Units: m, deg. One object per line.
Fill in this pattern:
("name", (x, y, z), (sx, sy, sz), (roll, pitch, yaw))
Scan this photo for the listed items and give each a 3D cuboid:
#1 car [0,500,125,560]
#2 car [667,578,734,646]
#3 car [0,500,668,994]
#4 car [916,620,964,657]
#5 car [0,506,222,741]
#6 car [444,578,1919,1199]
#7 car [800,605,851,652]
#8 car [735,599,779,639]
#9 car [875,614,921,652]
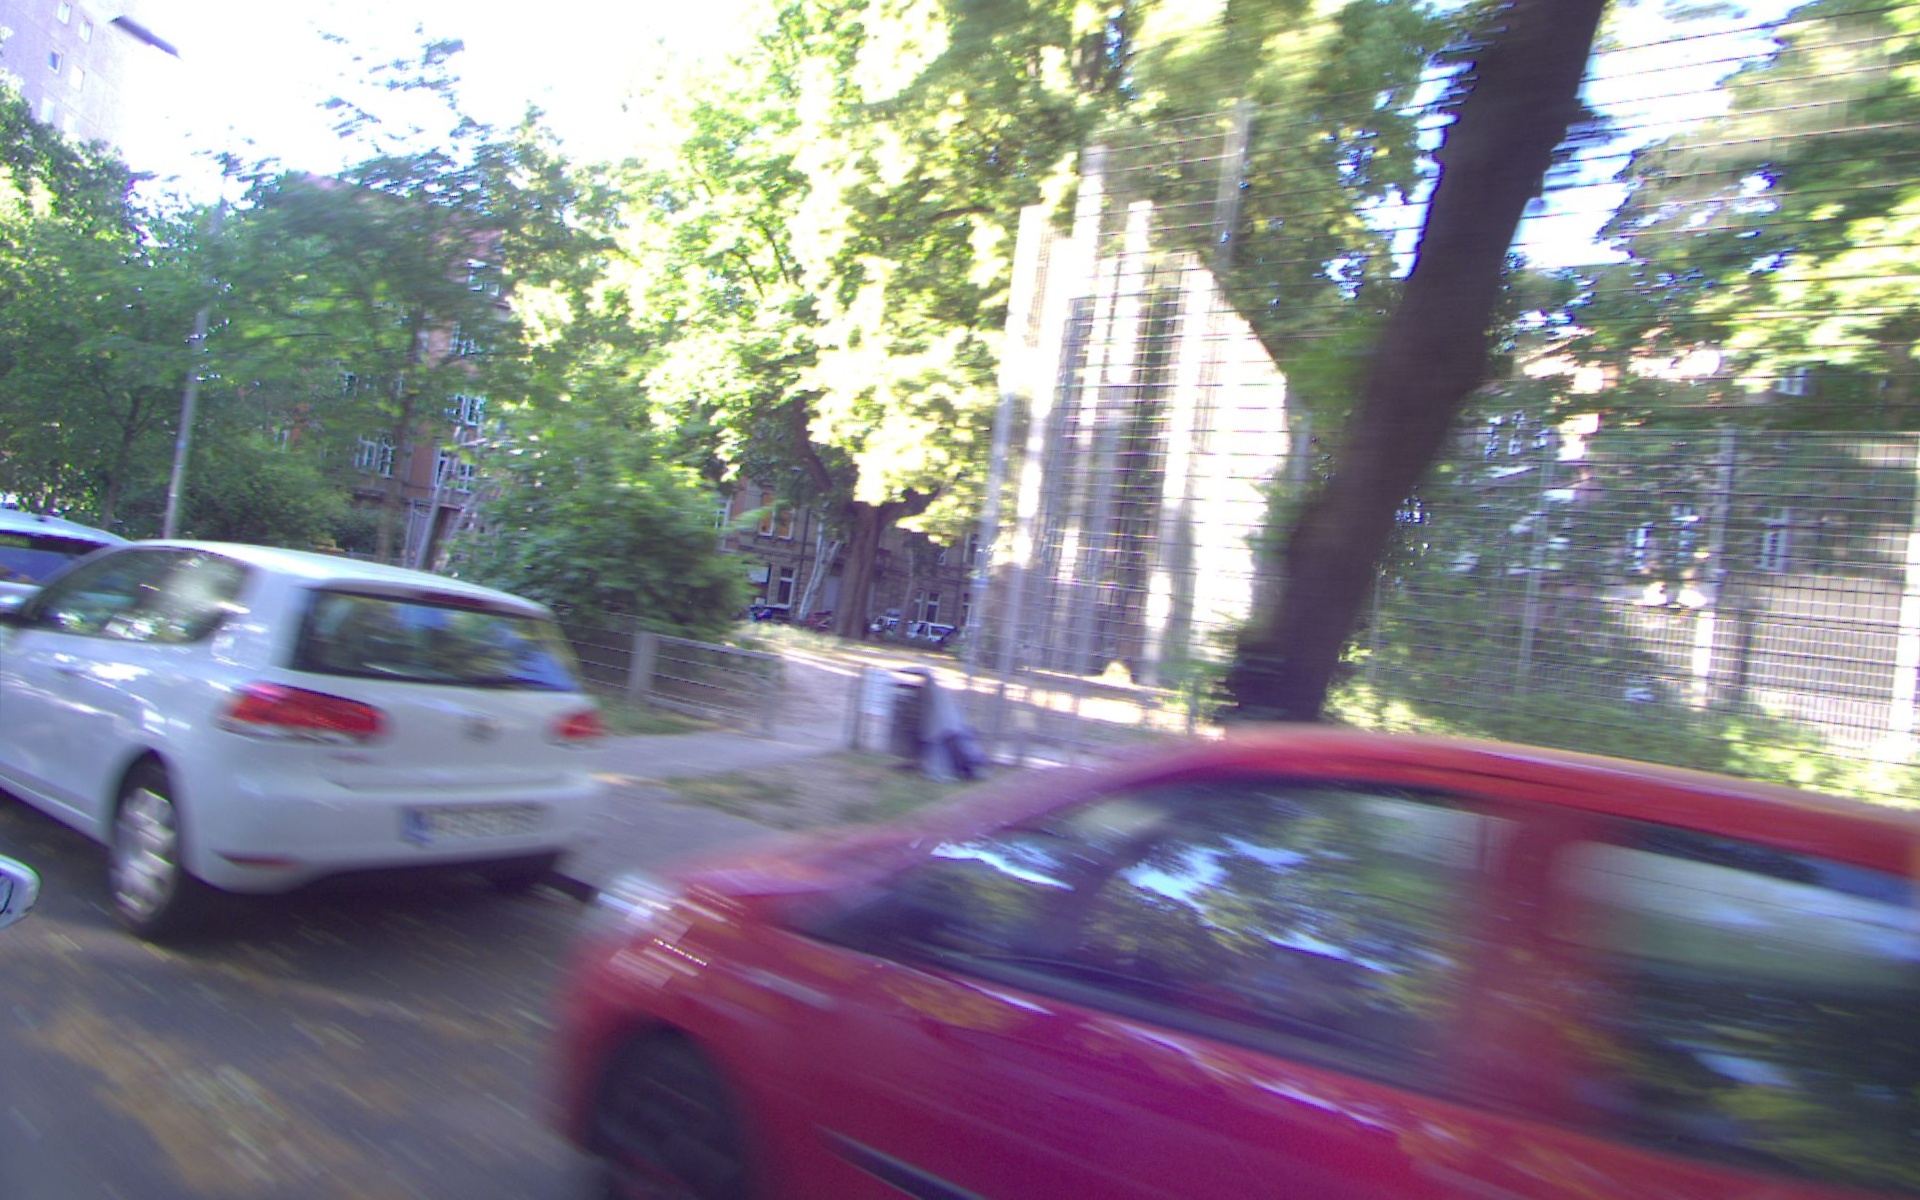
("car", (-34.921, -2.720, 38.369), (4.208, 1.567, 1.742), (8, -5, -13))
("car", (-11.215, 0.523, 43.516), (2.335, 2.483, 5.497), (8, -2, -14))
("car", (-3.580, 0.425, 4.981), (4.008, 1.470, 1.685), (7, -3, 31))
("car", (-1.186, 2.169, 57.424), (1.967, 1.803, 3.996), (8, -2, -10))
("car", (-7.636, -0.021, 7.500), (4.004, 1.470, 1.686), (7, -2, 27))
("car", (0.737, 0.937, 2.220), (3.495, 1.470, 1.595), (7, -3, 31))
("car", (-6.092, 1.271, 45.113), (1.966, 1.803, 3.997), (8, -2, -9))
("car", (-10.822, 1.043, 53.920), (1.966, 1.803, 3.997), (8, -2, -9))
("car", (-3.536, 1.840, 57.010), (1.967, 1.803, 3.996), (8, -2, -10))
